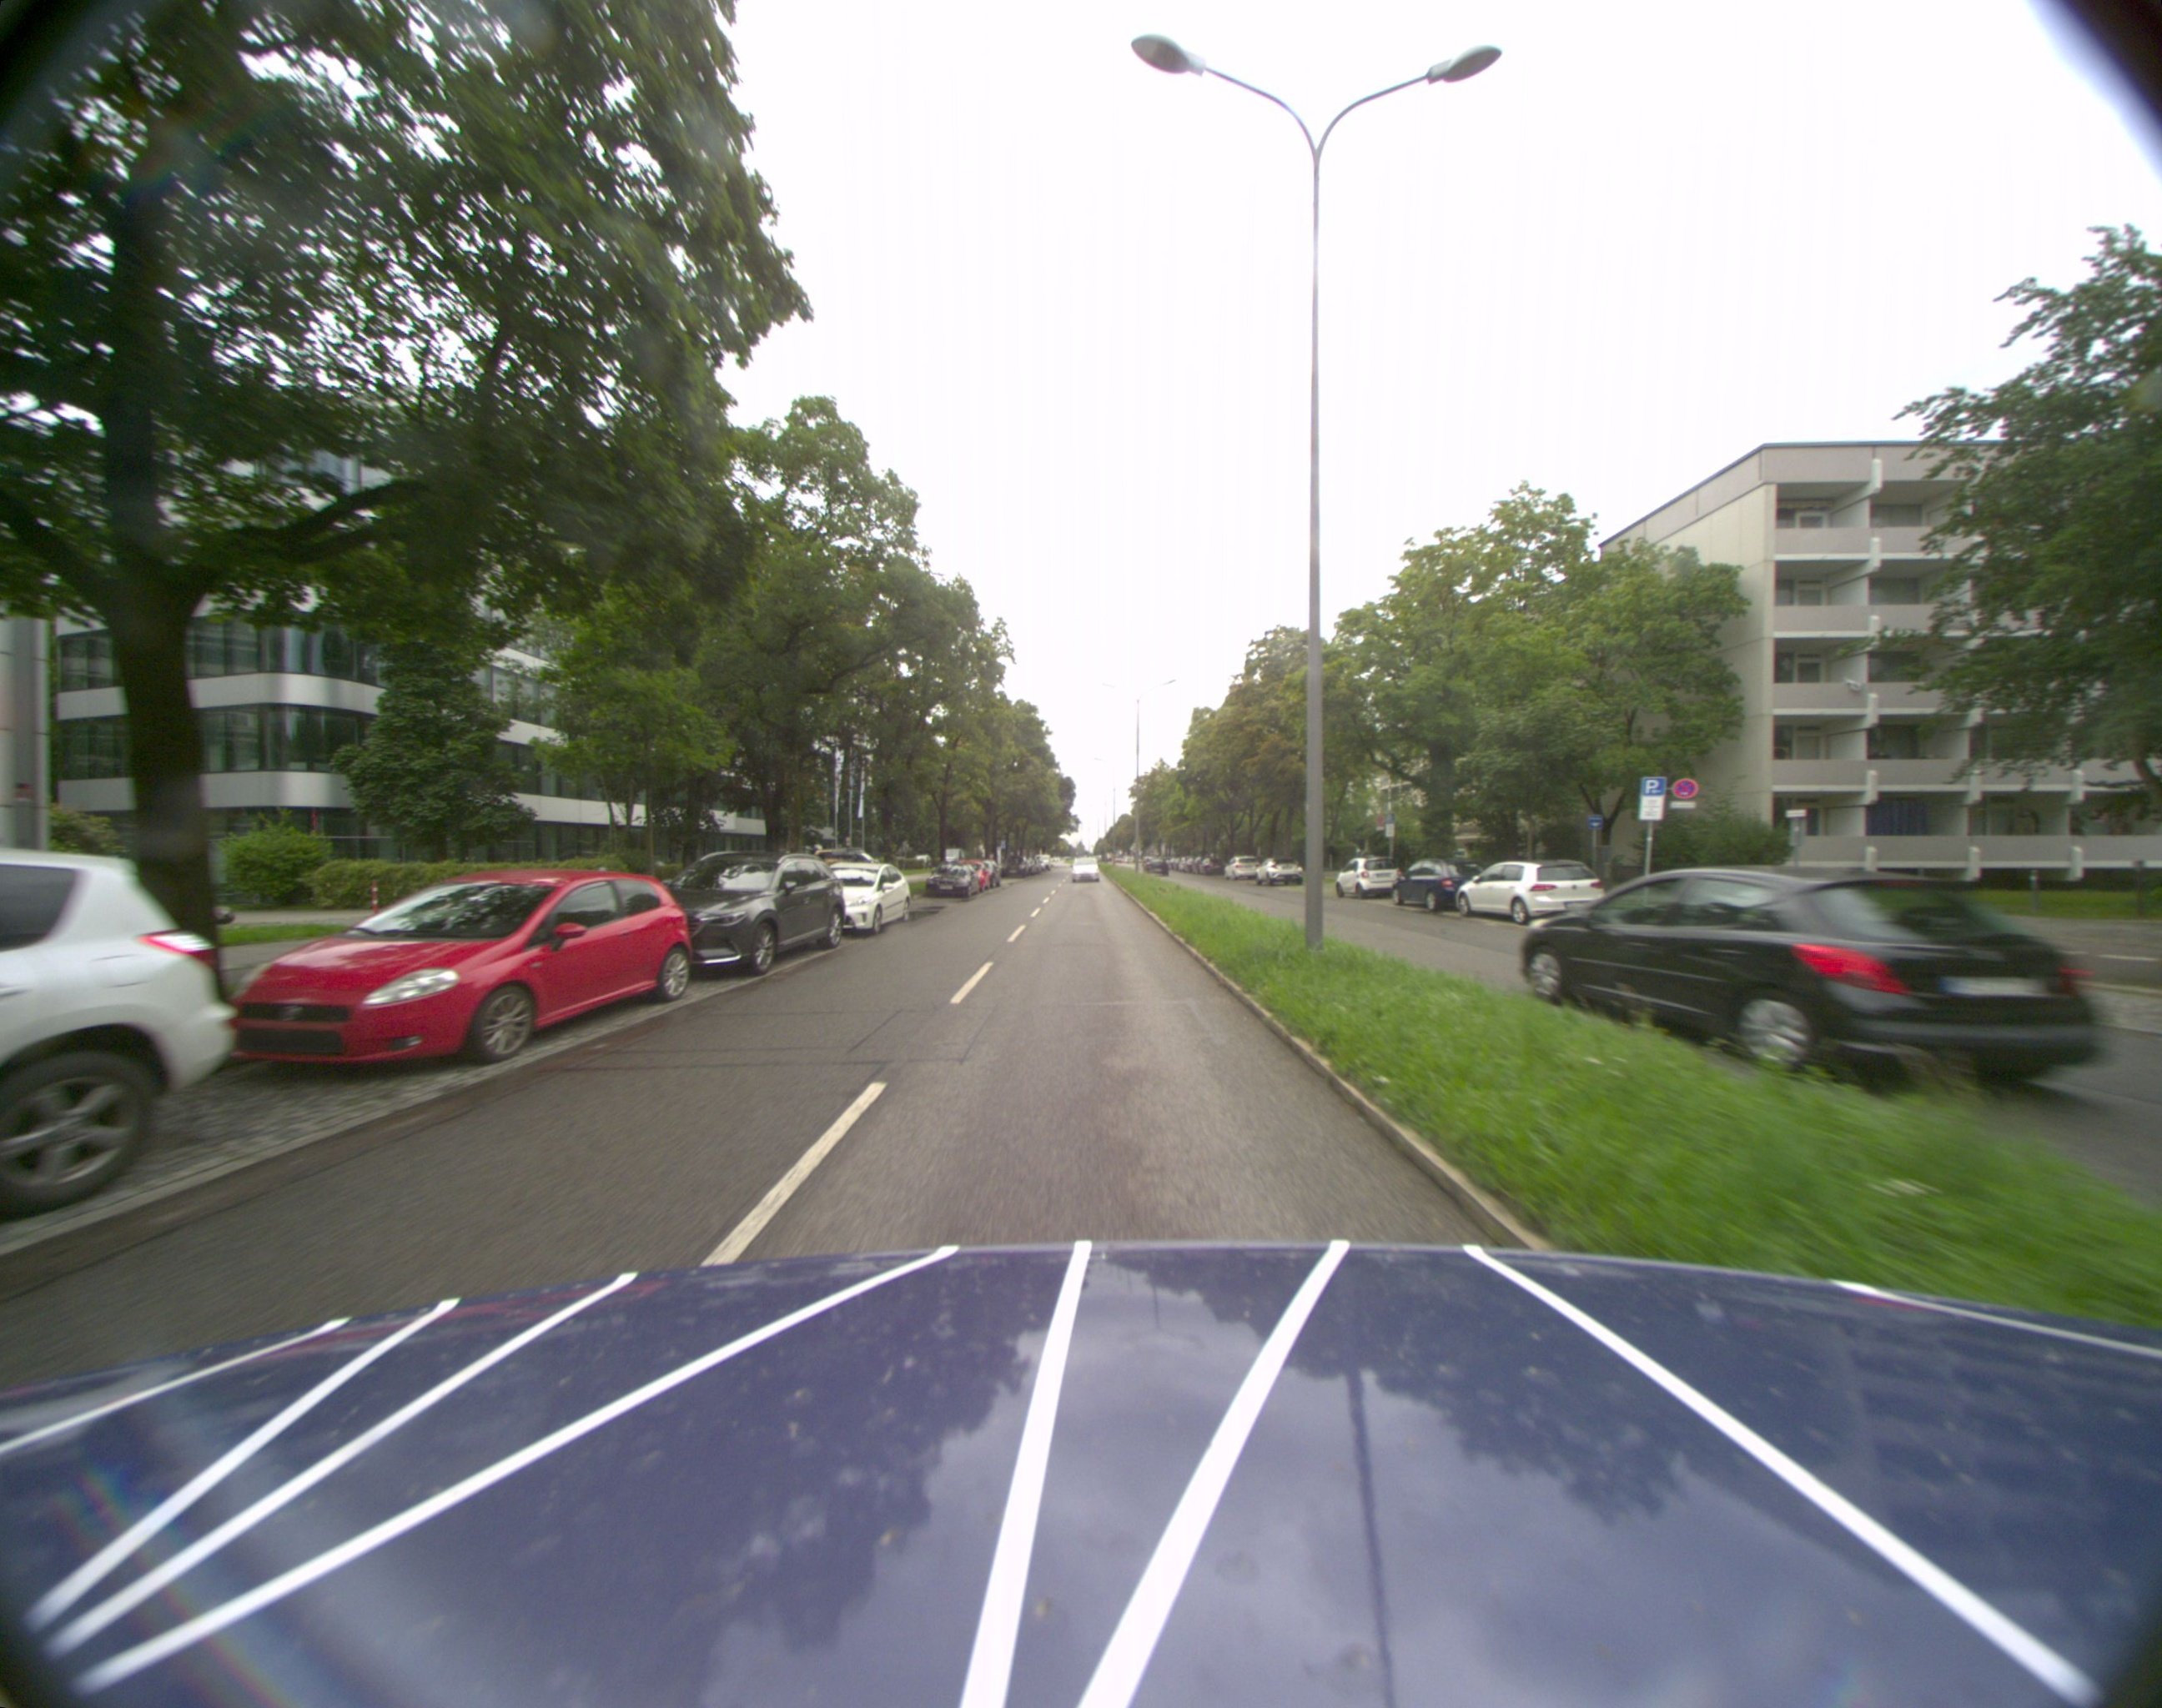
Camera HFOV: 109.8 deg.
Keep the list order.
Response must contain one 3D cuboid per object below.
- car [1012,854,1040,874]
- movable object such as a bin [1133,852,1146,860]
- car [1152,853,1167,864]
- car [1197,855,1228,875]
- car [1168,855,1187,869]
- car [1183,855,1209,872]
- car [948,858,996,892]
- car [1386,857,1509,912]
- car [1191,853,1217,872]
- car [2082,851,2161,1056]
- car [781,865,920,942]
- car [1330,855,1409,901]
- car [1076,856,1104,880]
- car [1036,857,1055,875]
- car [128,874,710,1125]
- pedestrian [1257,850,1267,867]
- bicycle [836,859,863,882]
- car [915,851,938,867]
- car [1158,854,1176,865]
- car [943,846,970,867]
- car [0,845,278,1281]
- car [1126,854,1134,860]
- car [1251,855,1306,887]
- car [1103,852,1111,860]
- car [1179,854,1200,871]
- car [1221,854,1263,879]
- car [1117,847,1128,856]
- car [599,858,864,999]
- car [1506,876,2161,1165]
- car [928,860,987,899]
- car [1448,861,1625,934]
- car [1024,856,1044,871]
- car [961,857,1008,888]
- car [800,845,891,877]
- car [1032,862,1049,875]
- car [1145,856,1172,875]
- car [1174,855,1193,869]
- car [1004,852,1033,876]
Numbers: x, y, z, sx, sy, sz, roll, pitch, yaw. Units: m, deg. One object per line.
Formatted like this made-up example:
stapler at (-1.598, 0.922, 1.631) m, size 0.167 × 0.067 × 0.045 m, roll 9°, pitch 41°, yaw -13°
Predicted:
car at (-4.735, 0.819, 65.991) m, size 1.817 × 1.666 × 4.800 m, roll 0°, pitch 0°, yaw 2°
movable object such as a bin at (13.648, 0.429, 177.723) m, size 2.200 × 1.941 × 3.998 m, roll 0°, pitch 0°, yaw -6°
car at (11.561, 0.711, 112.478) m, size 1.743 × 1.521 × 4.475 m, roll -2°, pitch 0°, yaw 1°
car at (10.996, 0.867, 63.704) m, size 1.764 × 1.504 × 4.948 m, roll -3°, pitch 0°, yaw 1°
car at (11.269, 0.914, 88.983) m, size 1.584 × 1.415 × 4.362 m, roll -3°, pitch 0°, yaw 0°
car at (11.138, 0.856, 73.866) m, size 1.720 × 1.515 × 5.034 m, roll -3°, pitch 0°, yaw 0°
car at (-5.159, 0.949, 36.377) m, size 1.679 × 1.492 × 4.021 m, roll 2°, pitch 0°, yaw 0°
car at (10.798, 0.841, 22.721) m, size 1.678 × 1.467 × 4.215 m, roll 0°, pitch 0°, yaw 1°
car at (11.041, 0.783, 68.456) m, size 1.690 × 1.587 × 4.210 m, roll -3°, pitch 0°, yaw 1°
car at (10.423, 0.835, 4.621) m, size 1.801 × 1.753 × 5.056 m, roll -3°, pitch 0°, yaw -3°
car at (-5.161, 1.027, 17.705) m, size 1.765 × 1.445 × 4.632 m, roll 2°, pitch 0°, yaw 0°
car at (10.859, 0.861, 28.786) m, size 1.695 × 1.556 × 3.079 m, roll -3°, pitch 0°, yaw -2°
car at (0.548, 0.830, 46.645) m, size 1.679 × 1.433 × 3.734 m, roll 0°, pitch 0°, yaw 1°
car at (-4.452, 1.469, 95.310) m, size 1.992 × 2.145 × 5.555 m, roll 0°, pitch 0°, yaw 1°
car at (-5.385, 1.015, 7.086) m, size 1.765 × 1.498 × 4.143 m, roll 2°, pitch 0°, yaw 0°
pedestrian at (17.284, 0.402, 72.621) m, size 0.850 × 1.646 × 0.609 m, roll 0°, pitch 1°, yaw 5°
bicycle at (-12.636, 0.878, 41.521) m, size 0.750 × 1.176 × 2.246 m, roll 0°, pitch 0°, yaw 0°
car at (-17.746, 0.545, 87.518) m, size 1.847 × 1.807 × 4.471 m, roll 0°, pitch 0°, yaw -1°
car at (11.547, 0.751, 102.492) m, size 1.741 × 1.440 × 4.822 m, roll -3°, pitch 0°, yaw 0°
car at (-14.363, 0.303, 88.076) m, size 2.271 × 2.293 × 6.267 m, roll 0°, pitch 0°, yaw -1°
car at (-5.448, 0.880, 2.034) m, size 1.765 × 1.820 × 4.528 m, roll 2°, pitch 0°, yaw 0°
car at (12.999, 0.809, 200.997) m, size 1.651 × 1.480 × 3.901 m, roll 0°, pitch 0°, yaw -2°
car at (10.741, 0.870, 41.660) m, size 1.837 × 1.600 × 4.491 m, roll -3°, pitch 0°, yaw 1°
car at (6.966, 0.520, 202.449) m, size 1.785 × 2.017 × 4.818 m, roll 0°, pitch 0°, yaw 0°
car at (11.225, 0.892, 79.068) m, size 1.629 × 1.638 × 3.867 m, roll -3°, pitch 0°, yaw 1°
car at (10.876, 0.827, 51.630) m, size 1.761 × 1.585 × 4.489 m, roll -3°, pitch 0°, yaw -1°
car at (10.469, -0.620, 191.895) m, size 2.215 × 2.181 × 5.798 m, roll 0°, pitch 0°, yaw 0°
car at (-5.135, 0.944, 12.141) m, size 1.765 × 1.688 × 5.230 m, roll 2°, pitch 0°, yaw 0°
car at (5.443, 0.960, 6.153) m, size 1.742 × 1.433 × 4.103 m, roll 0°, pitch 0°, yaw 1°
car at (-5.117, 0.998, 31.953) m, size 1.679 × 1.445 × 4.582 m, roll 2°, pitch 0°, yaw 0°
car at (10.694, 0.943, 18.265) m, size 1.678 × 1.434 × 4.320 m, roll -3°, pitch 0°, yaw 1°
car at (-4.767, 0.963, 78.000) m, size 1.706 × 1.413 × 4.121 m, roll 0°, pitch 0°, yaw 1°
car at (-5.138, 0.940, 40.839) m, size 1.783 × 1.502 × 4.285 m, roll 2°, pitch 0°, yaw 2°
car at (-16.032, 0.461, 51.904) m, size 5.484 × 2.071 × 2.147 m, roll 0°, pitch 0°, yaw 0°
car at (-4.728, 1.684, 88.977) m, size 1.706 × 1.389 × 4.232 m, roll 0°, pitch 0°, yaw 1°
car at (6.062, 0.898, 59.927) m, size 1.743 × 1.432 × 4.215 m, roll 0°, pitch 0°, yaw 1°
car at (11.256, 0.811, 83.733) m, size 1.629 × 1.415 × 4.192 m, roll -3°, pitch 0°, yaw 1°
car at (-4.864, 0.753, 59.862) m, size 1.897 × 1.789 × 4.861 m, roll 0°, pitch 0°, yaw 0°
